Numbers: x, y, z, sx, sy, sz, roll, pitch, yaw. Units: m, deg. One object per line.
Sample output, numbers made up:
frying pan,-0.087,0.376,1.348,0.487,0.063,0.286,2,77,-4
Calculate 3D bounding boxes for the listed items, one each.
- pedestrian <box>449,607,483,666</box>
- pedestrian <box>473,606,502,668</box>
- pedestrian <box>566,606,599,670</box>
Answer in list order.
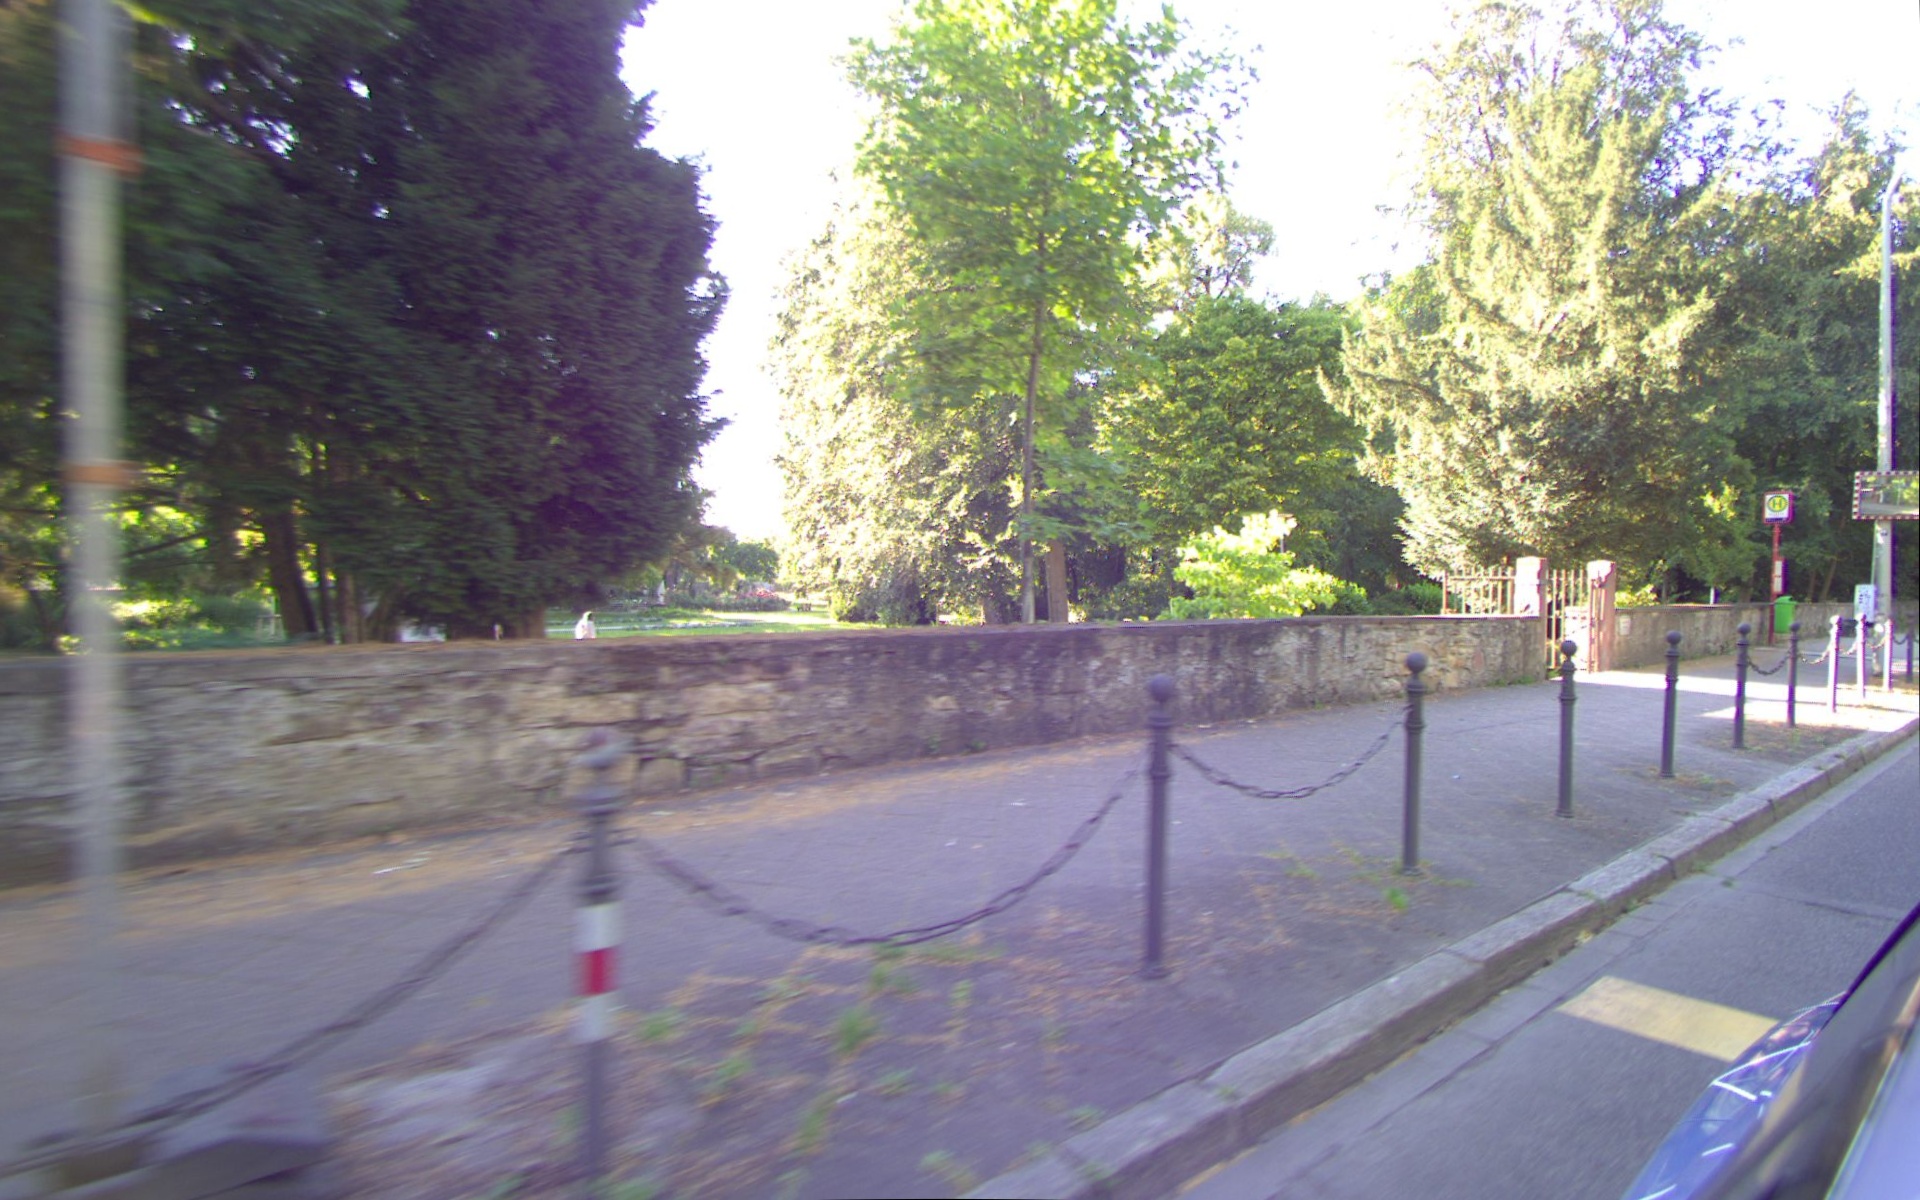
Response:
pedestrian,-13.788,1.007,28.264,0.556,1.639,0.759,-1,0,5
pedestrian,-13.509,1.053,28.938,0.587,1.751,0.590,-1,-1,-40
pedestrian,-10.010,0.990,26.839,0.625,1.661,0.616,-1,-1,-38
